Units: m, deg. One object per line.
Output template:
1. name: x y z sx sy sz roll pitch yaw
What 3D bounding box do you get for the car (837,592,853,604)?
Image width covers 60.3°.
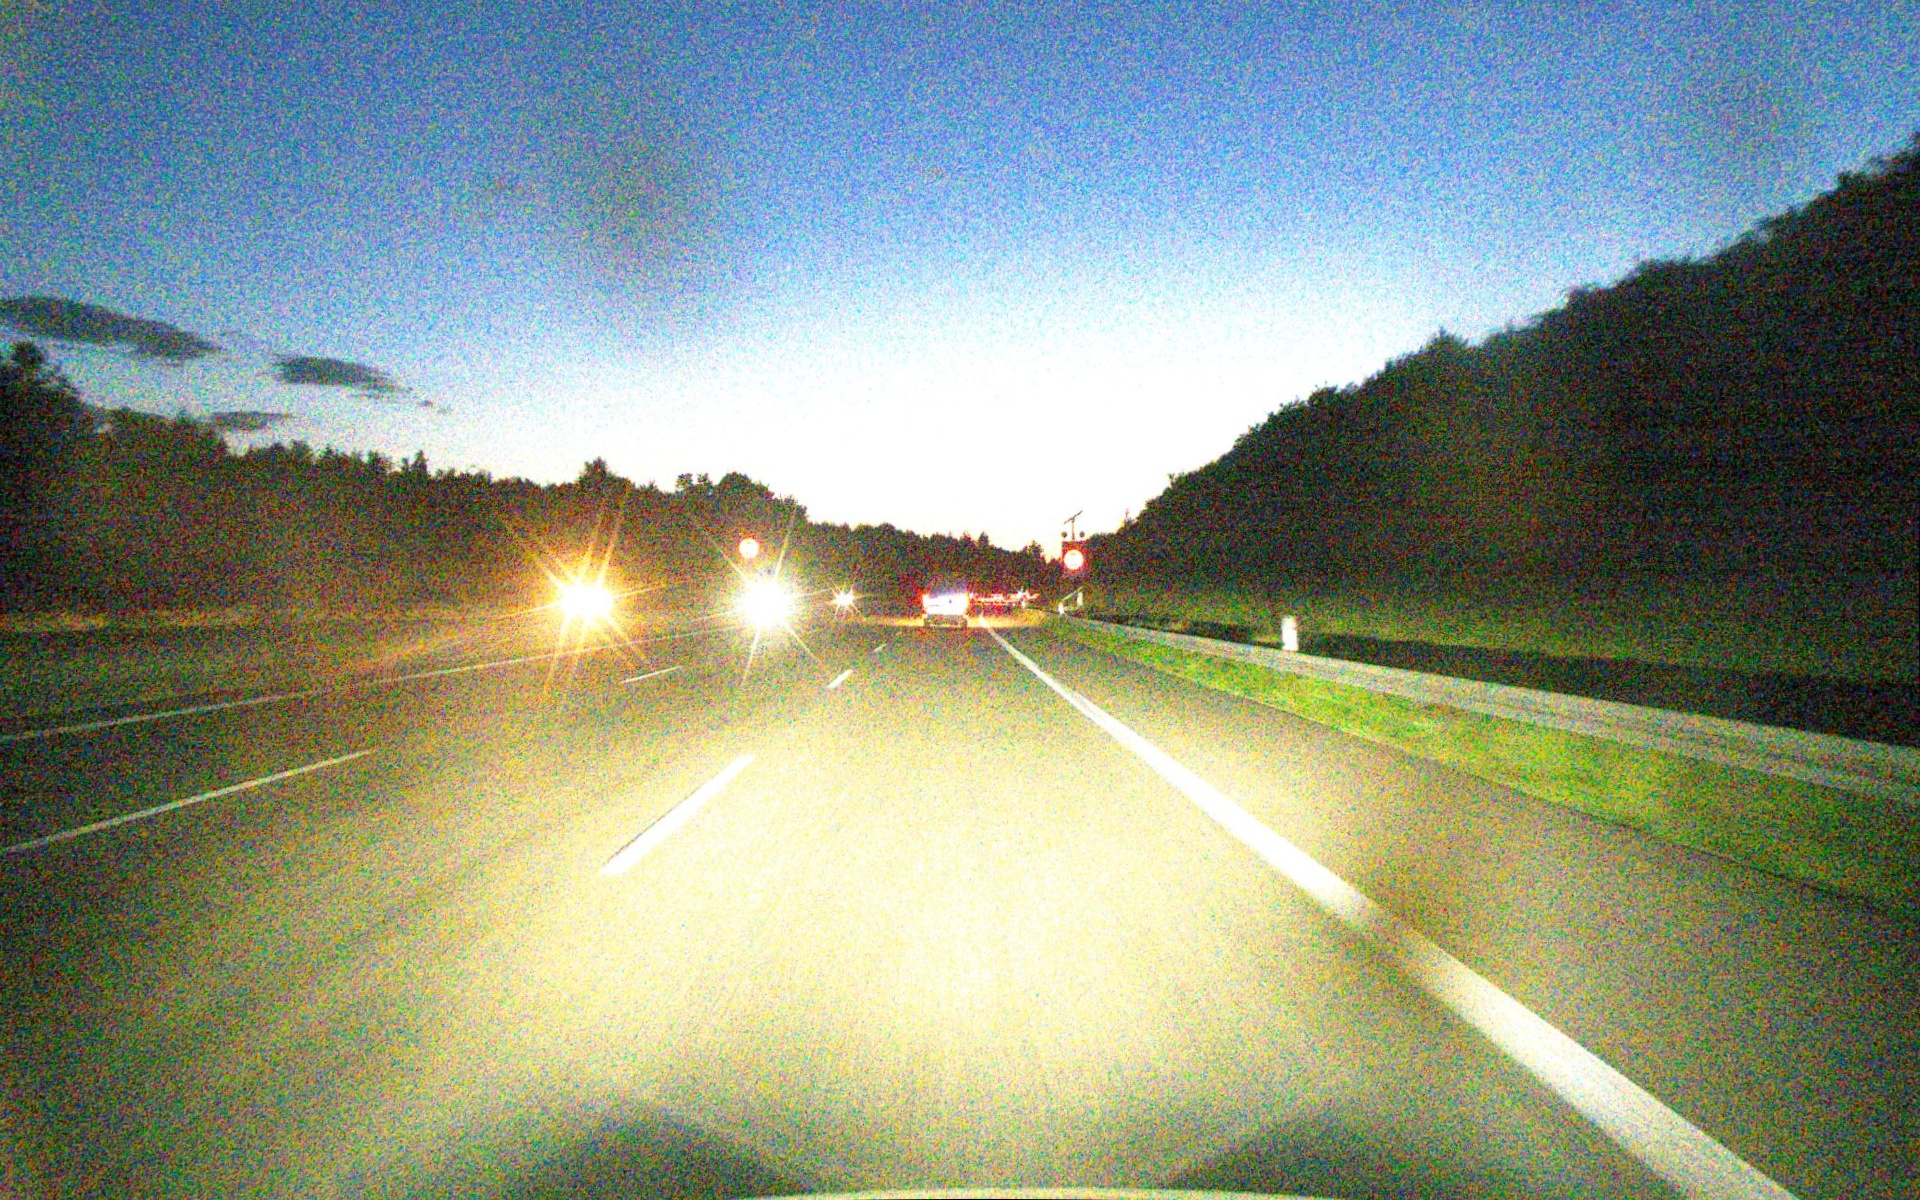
1. car: -15.895 -0.236 228.685 1.953 1.630 4.212 1 0 0

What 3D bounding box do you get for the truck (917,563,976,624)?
1. truck: -0.622 -0.287 78.239 2.576 2.670 8.683 1 0 0

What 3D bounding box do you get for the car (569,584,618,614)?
1. car: -22.692 -0.064 102.583 1.953 1.809 5.089 1 0 -1
